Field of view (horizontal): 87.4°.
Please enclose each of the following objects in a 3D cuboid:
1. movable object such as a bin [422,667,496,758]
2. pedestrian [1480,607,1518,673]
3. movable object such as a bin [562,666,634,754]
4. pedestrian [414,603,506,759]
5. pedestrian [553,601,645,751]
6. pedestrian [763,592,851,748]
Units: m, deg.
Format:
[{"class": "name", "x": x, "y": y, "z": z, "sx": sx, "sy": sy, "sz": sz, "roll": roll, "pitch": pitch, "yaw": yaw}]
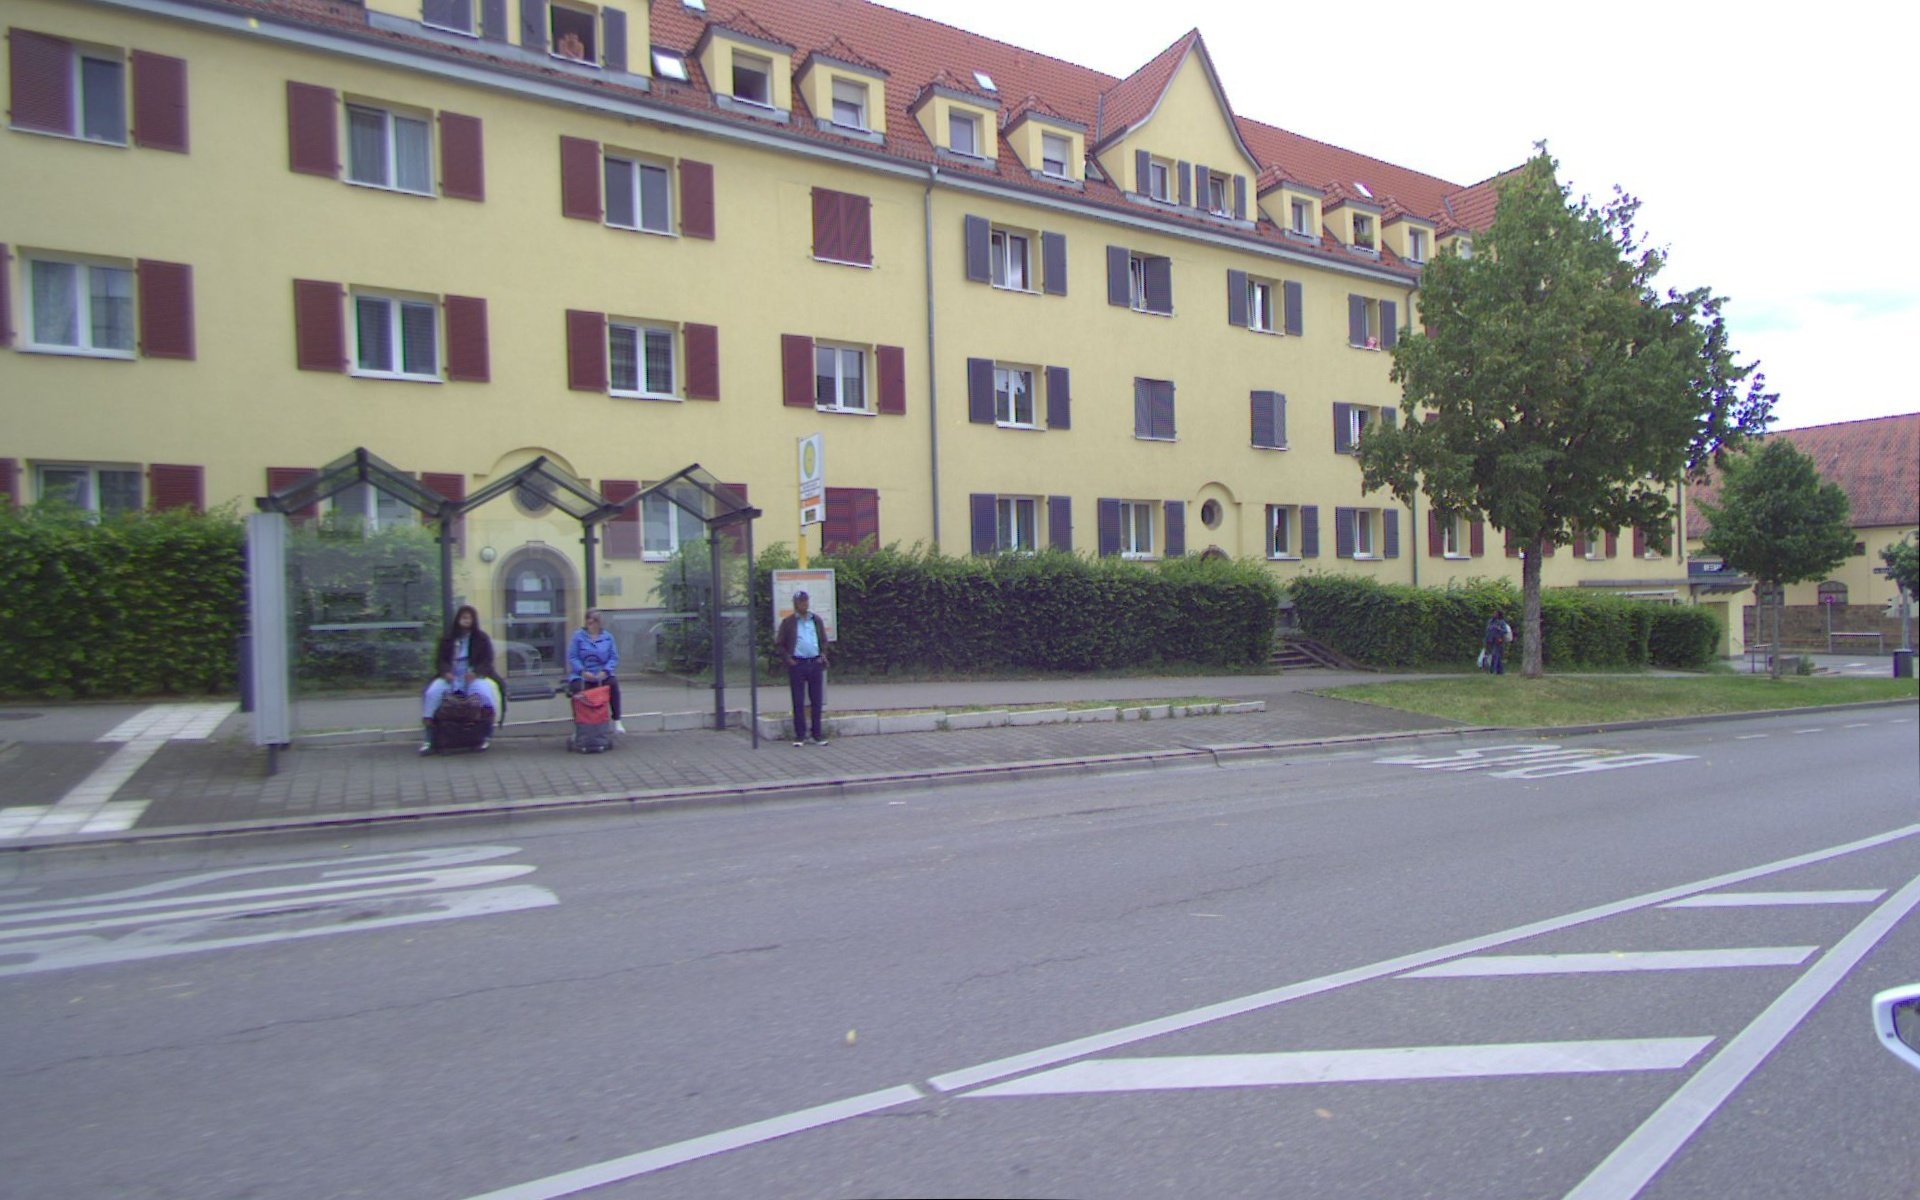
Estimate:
[{"class": "movable object such as a bin", "x": -5.081, "y": 1.127, "z": 10.186, "sx": 0.657, "sy": 0.837, "sz": 0.462, "roll": 0, "pitch": 1, "yaw": -29}, {"class": "pedestrian", "x": 13.679, "y": 0.999, "z": 25.508, "sx": 0.611, "sy": 1.640, "sz": 0.637, "roll": 0, "pitch": 0, "yaw": -31}, {"class": "movable object such as a bin", "x": -3.893, "y": 1.161, "z": 10.794, "sx": 0.657, "sy": 0.857, "sz": 0.534, "roll": 0, "pitch": 1, "yaw": -29}, {"class": "pedestrian", "x": -5.144, "y": 0.791, "z": 10.316, "sx": 0.797, "sy": 1.493, "sz": 0.895, "roll": 0, "pitch": 1, "yaw": -29}, {"class": "pedestrian", "x": -3.945, "y": 0.789, "z": 10.944, "sx": 0.797, "sy": 1.530, "sz": 0.895, "roll": 0, "pitch": 1, "yaw": -29}, {"class": "pedestrian", "x": -1.783, "y": 0.788, "z": 11.686, "sx": 0.850, "sy": 1.750, "sz": 0.595, "roll": 1, "pitch": 0, "yaw": -28}]
